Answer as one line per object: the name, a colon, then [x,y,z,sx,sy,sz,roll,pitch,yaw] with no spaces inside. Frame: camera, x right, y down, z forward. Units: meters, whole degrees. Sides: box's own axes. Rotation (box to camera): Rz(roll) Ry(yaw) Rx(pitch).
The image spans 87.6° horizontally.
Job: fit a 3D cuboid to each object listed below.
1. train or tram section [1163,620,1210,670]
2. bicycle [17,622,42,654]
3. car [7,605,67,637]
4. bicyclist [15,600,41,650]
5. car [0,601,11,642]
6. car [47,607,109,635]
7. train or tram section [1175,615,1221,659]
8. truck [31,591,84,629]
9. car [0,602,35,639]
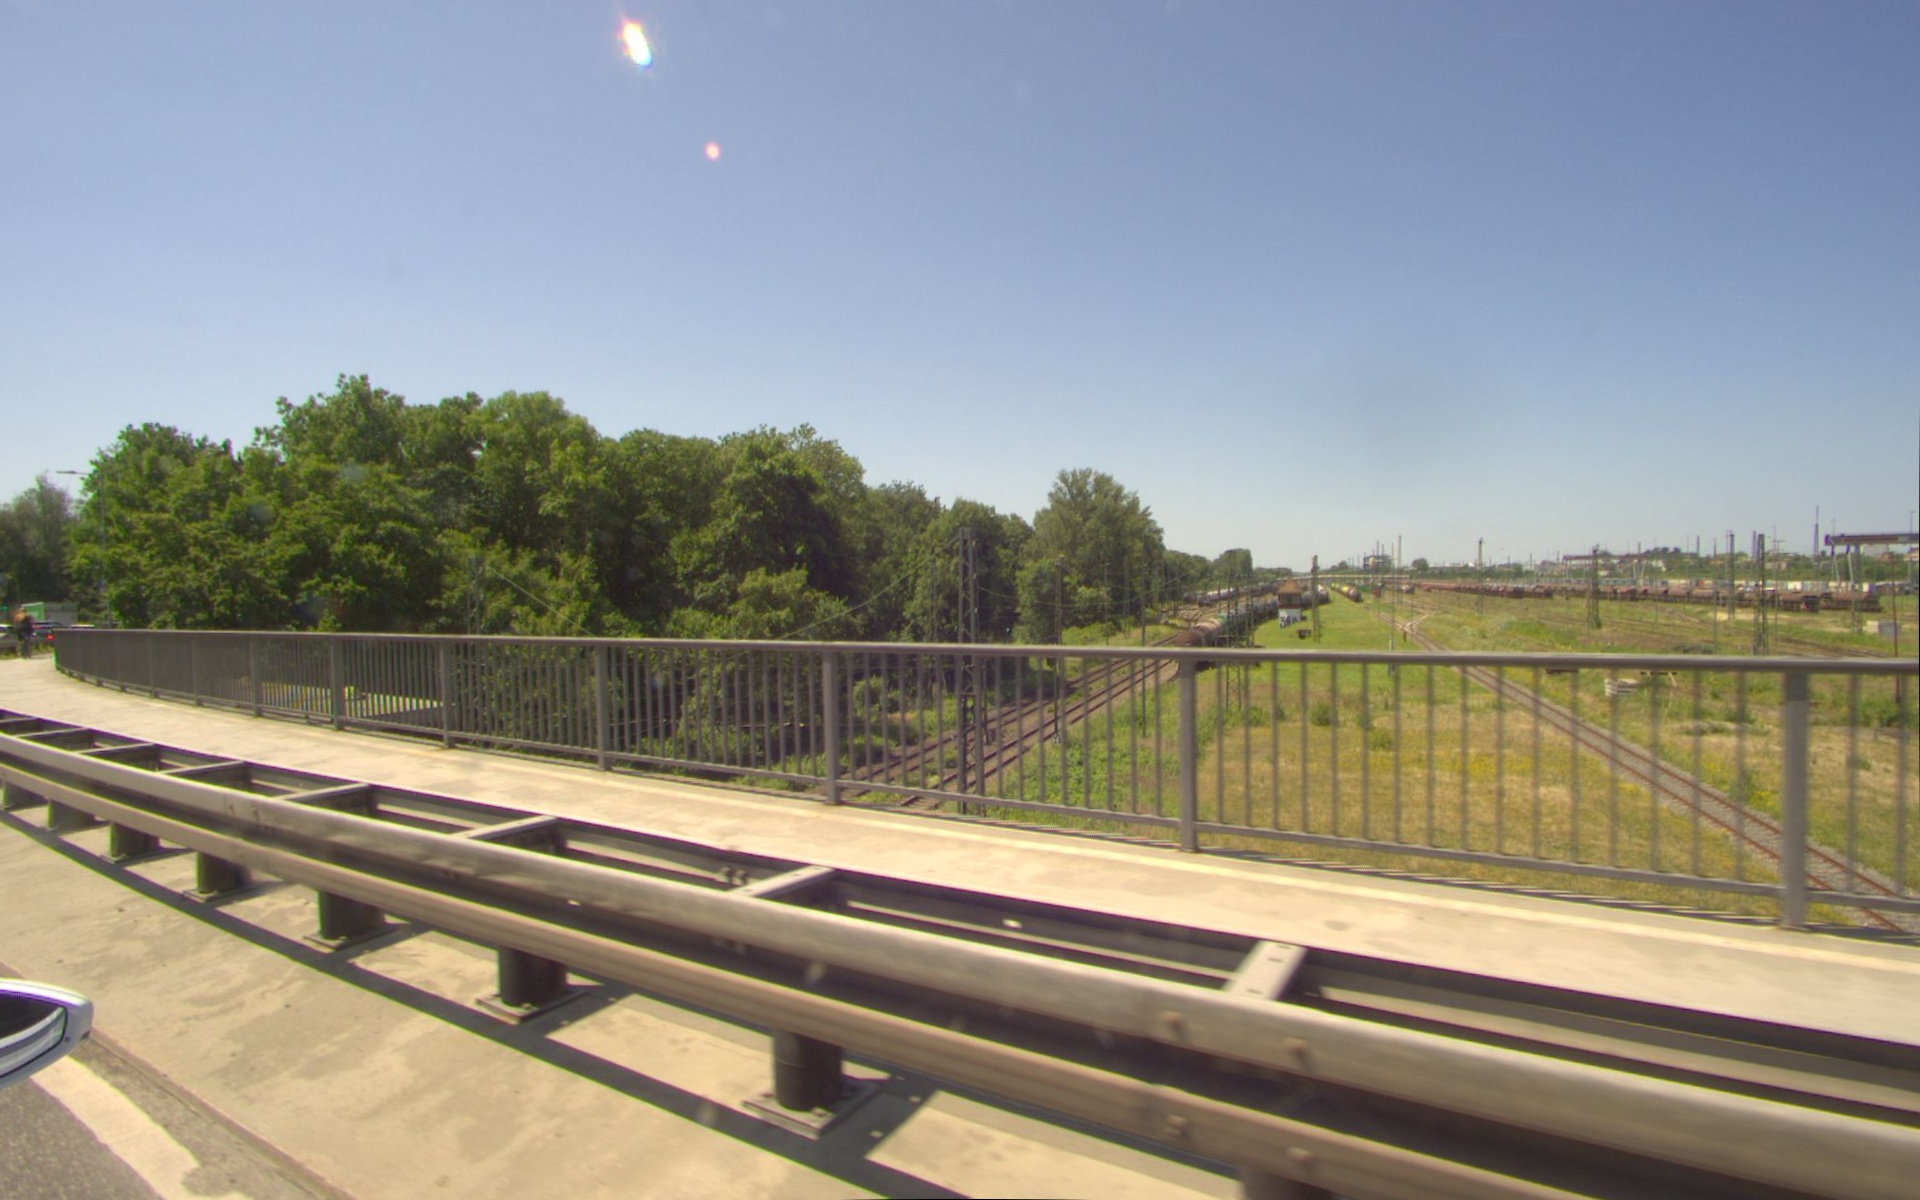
train or tram section: [24.907,4.779,109.473,3.783,4.366,13.604,-2,1,17]
bicycle: [-32.991,1.336,35.481,0.578,1.050,1.470,-4,2,-44]
car: [-52.645,1.208,57.177,1.667,1.783,3.980,0,-2,-30]
bicyclist: [-32.958,0.877,35.418,0.574,1.706,0.722,-4,3,-44]
car: [-45.264,0.992,46.055,1.704,1.868,3.973,1,-1,-35]
car: [-55.830,1.347,63.487,1.970,1.594,3.985,2,-4,-27]
train or tram section: [29.251,4.378,122.405,3.785,4.366,13.595,-2,1,20]
truck: [-72.357,0.820,80.253,5.868,2.911,2.325,0,0,39]
car: [-48.933,1.037,51.280,1.704,1.868,3.973,1,-1,-35]
